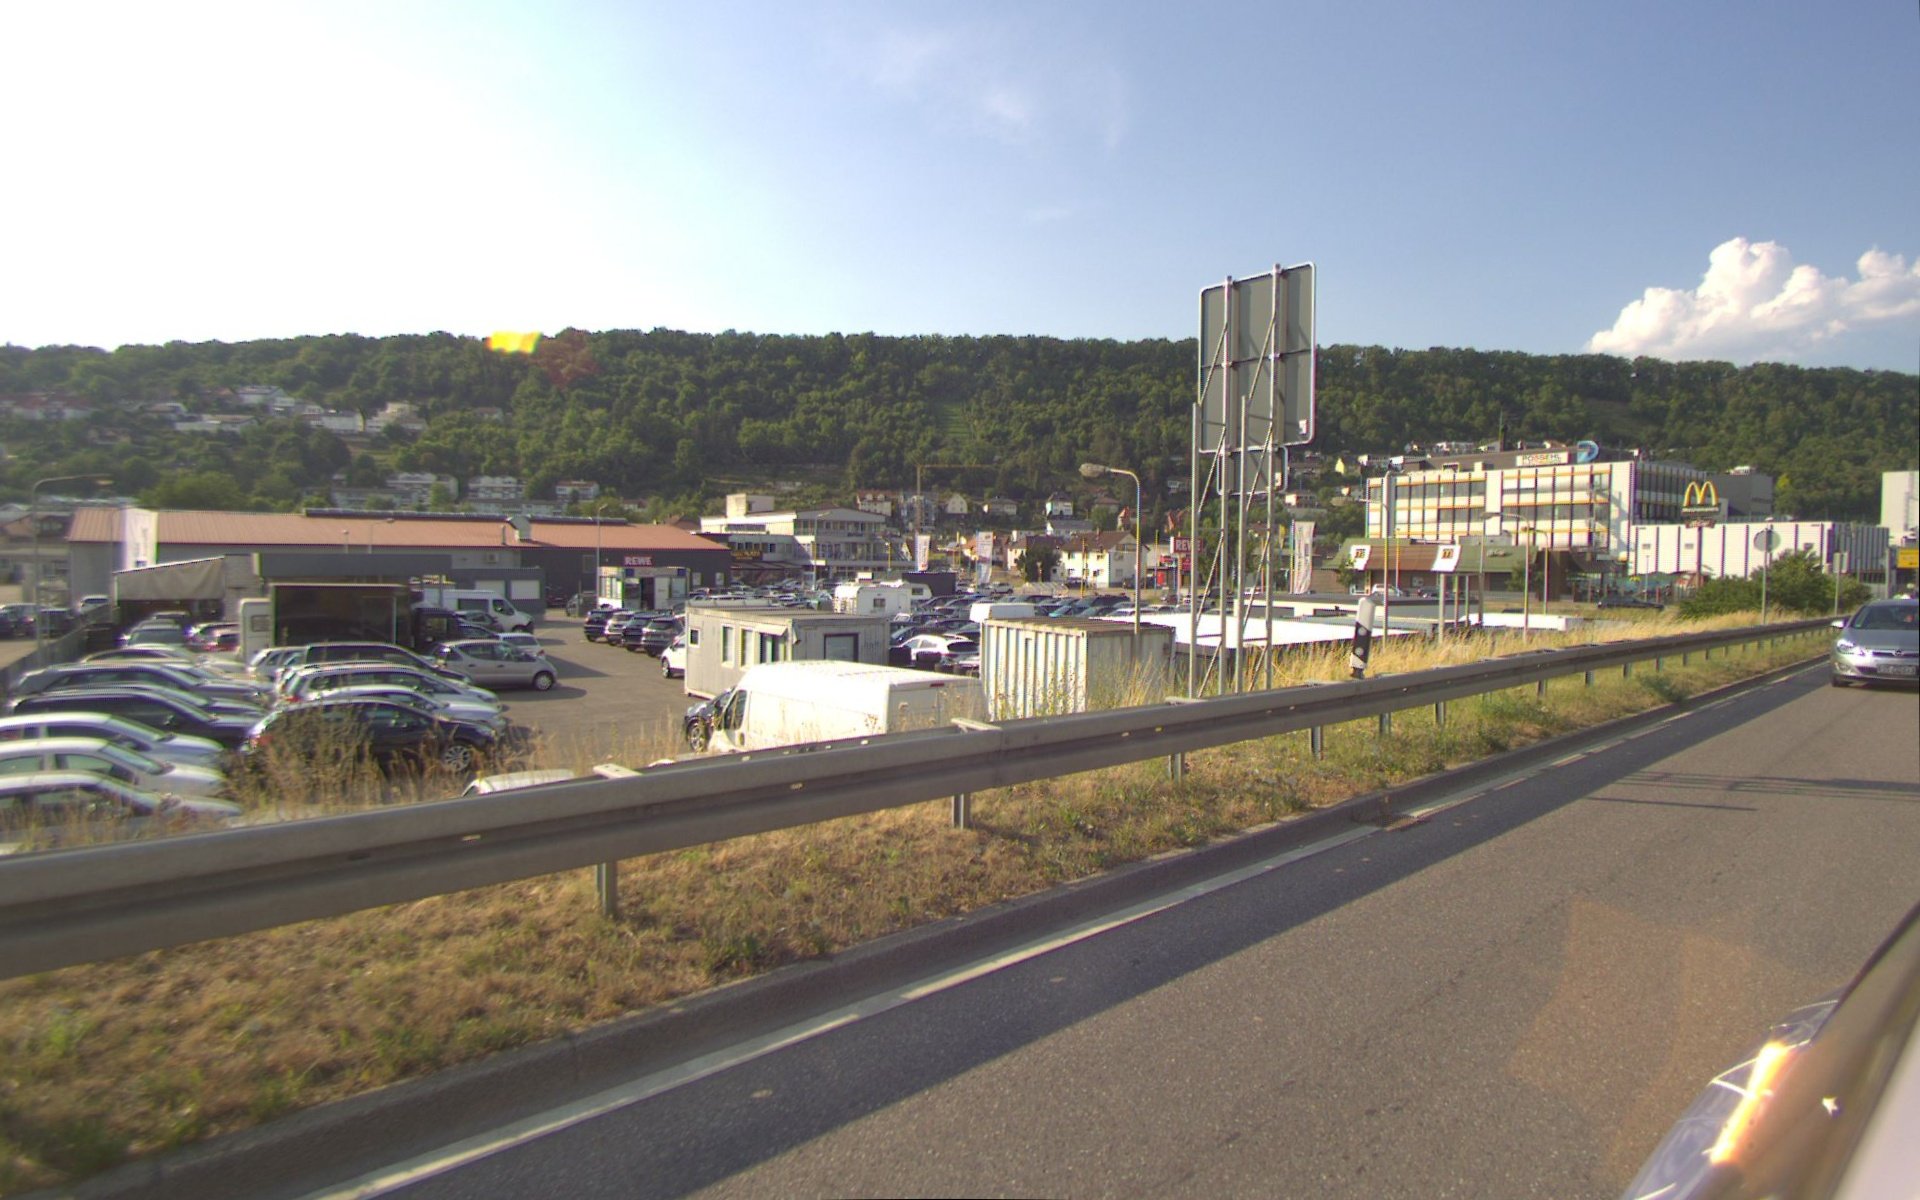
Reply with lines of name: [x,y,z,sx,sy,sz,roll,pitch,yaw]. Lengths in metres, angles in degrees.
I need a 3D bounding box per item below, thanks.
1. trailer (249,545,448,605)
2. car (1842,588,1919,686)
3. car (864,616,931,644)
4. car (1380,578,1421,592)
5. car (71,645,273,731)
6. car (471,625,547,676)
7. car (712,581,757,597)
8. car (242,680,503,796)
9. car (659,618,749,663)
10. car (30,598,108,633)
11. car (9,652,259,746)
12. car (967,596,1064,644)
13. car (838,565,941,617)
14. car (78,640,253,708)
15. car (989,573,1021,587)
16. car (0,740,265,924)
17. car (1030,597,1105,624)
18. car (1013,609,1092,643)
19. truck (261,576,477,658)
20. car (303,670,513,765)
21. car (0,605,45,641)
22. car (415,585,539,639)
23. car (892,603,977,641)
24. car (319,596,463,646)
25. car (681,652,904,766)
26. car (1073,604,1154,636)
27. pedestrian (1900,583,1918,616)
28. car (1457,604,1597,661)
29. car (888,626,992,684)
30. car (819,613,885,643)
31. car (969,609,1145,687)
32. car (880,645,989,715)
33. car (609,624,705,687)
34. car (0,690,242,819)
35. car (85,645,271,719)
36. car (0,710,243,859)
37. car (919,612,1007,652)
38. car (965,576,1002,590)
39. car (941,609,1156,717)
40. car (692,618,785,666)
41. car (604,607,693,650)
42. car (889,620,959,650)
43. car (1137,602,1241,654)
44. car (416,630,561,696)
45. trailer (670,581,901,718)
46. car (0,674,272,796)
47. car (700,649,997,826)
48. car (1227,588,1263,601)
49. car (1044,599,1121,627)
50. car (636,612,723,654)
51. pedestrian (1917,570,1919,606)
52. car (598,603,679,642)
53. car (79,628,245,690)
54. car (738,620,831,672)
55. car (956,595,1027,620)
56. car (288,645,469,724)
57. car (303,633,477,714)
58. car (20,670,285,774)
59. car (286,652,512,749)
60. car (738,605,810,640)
trailer: [-22.637,-0.949,37.644,6.168,2.047,1.999,-2,1,-37]
car: [15.976,0.550,16.672,3.817,1.408,1.689,-2,2,-42]
car: [-2.818,1.338,45.456,2.707,1.138,1.279,-1,1,-19]
car: [50.630,-1.702,116.396,1.828,1.475,3.995,-2,3,-40]
car: [-19.333,2.096,25.024,3.818,1.722,1.602,-2,1,-36]
car: [-16.655,1.798,37.265,1.766,1.562,4.346,-2,1,-34]
car: [-24.655,-1.221,110.561,4.509,1.607,1.834,-2,4,-43]
car: [-11.119,2.523,19.312,4.105,1.524,1.601,-2,4,-40]
car: [-10.428,1.603,41.424,1.662,1.589,3.748,-1,1,22]
car: [-47.006,0.773,53.493,1.958,1.738,4.007,0,0,-24]
car: [-18.303,2.136,22.697,4.206,1.614,1.602,-2,1,-36]
car: [2.934,0.976,52.724,5.202,2.274,1.759,-2,1,-39]
car: [-3.709,-0.509,53.897,5.371,2.581,1.759,-2,1,-39]
car: [-22.545,2.053,28.891,3.820,1.562,1.800,-2,1,-37]
car: [5.626,-2.466,125.712,3.934,1.676,1.788,-2,1,-43]
car: [-11.057,2.882,12.702,1.597,1.631,3.610,0,1,44]
car: [6.854,0.666,64.678,4.386,1.585,1.764,-2,1,-21]
car: [4.661,1.300,50.997,3.601,1.522,1.770,-2,1,-31]
truck: [-19.281,0.475,33.203,5.863,2.400,1.998,-2,1,-39]
car: [-11.840,2.451,21.793,3.794,1.530,1.602,-2,1,-36]
car: [-49.356,1.185,52.245,1.958,1.738,4.007,0,0,-24]
car: [-23.924,0.549,50.193,5.229,2.468,1.999,-2,1,-37]
car: [-1.237,1.062,49.933,3.928,1.660,1.759,-2,1,-39]
car: [-20.238,0.710,36.090,4.266,1.562,1.799,-2,1,-37]
car: [-3.621,2.230,21.716,4.530,2.039,1.882,-1,1,29]
car: [8.689,1.068,57.106,4.741,1.585,1.759,-2,1,-39]
pedestrian: [53.014,-0.028,56.508,0.527,1.770,0.533,-1,5,-37]
car: [20.242,1.109,36.236,1.803,1.838,3.995,-2,1,-40]
car: [-0.752,1.866,35.597,1.858,1.757,3.678,-2,1,-36]
car: [-5.060,1.304,47.498,2.810,1.243,1.363,-1,1,-19]
car: [2.451,1.211,26.417,2.092,1.772,4.330,5,-3,-40]
car: [-0.676,2.293,29.903,1.709,1.667,3.744,-1,1,25]
car: [-10.334,1.828,34.344,1.773,1.677,3.998,-2,3,-38]
car: [-14.311,2.529,16.990,3.601,1.631,1.601,-2,1,-38]
car: [-20.794,2.118,27.082,3.820,1.562,1.800,-2,1,-37]
car: [-12.781,2.665,14.865,3.601,1.631,1.601,-2,1,-38]
car: [0.163,1.477,48.113,3.928,1.660,1.759,-2,1,-39]
car: [2.820,-2.075,120.503,4.269,1.582,1.834,-2,4,-43]
car: [1.607,1.101,19.570,1.868,1.772,3.995,-2,1,-40]
car: [-8.428,1.561,38.840,1.662,1.589,3.748,-1,1,22]
car: [-14.057,1.256,45.800,1.755,1.705,3.633,0,1,31]
car: [-1.525,1.463,42.916,2.707,1.138,1.279,-1,1,-19]
car: [9.809,1.150,43.190,4.741,1.976,1.759,-2,1,-39]
car: [-14.559,1.900,31.306,3.818,1.722,1.602,-2,1,-36]
trailer: [-5.302,1.197,29.265,3.297,3.364,7.901,-2,1,-37]
car: [-15.317,2.441,19.065,3.841,1.715,1.602,-2,1,-35]
car: [-2.074,1.987,16.546,1.964,2.039,5.894,-2,1,-39]
car: [32.386,-0.653,114.956,1.658,1.438,3.652,-2,1,-36]
car: [7.491,0.774,61.793,4.388,1.585,1.764,-2,1,-26]
car: [-11.966,1.374,43.417,1.662,1.589,3.748,-1,1,22]
pedestrian: [52.083,-0.635,54.566,0.847,1.906,0.619,-2,3,-44]
car: [-15.484,1.064,48.943,1.750,1.705,3.642,-1,1,25]
car: [-23.925,1.732,30.507,3.819,1.562,1.601,-2,1,-37]
car: [-6.286,1.619,36.613,1.660,1.589,3.751,-1,1,20]
car: [2.072,0.496,67.079,4.386,1.478,1.764,-1,1,-13]
car: [-14.692,2.069,25.646,3.818,1.583,1.602,-2,1,-36]
car: [-15.512,1.931,27.615,3.945,1.824,1.602,-2,1,-36]
car: [-16.632,2.450,21.119,4.163,1.614,1.602,-2,1,-36]
car: [-13.073,2.246,23.688,4.413,1.722,1.971,-2,1,-36]
car: [-9.583,1.115,52.094,3.367,1.636,1.810,-1,1,-19]
